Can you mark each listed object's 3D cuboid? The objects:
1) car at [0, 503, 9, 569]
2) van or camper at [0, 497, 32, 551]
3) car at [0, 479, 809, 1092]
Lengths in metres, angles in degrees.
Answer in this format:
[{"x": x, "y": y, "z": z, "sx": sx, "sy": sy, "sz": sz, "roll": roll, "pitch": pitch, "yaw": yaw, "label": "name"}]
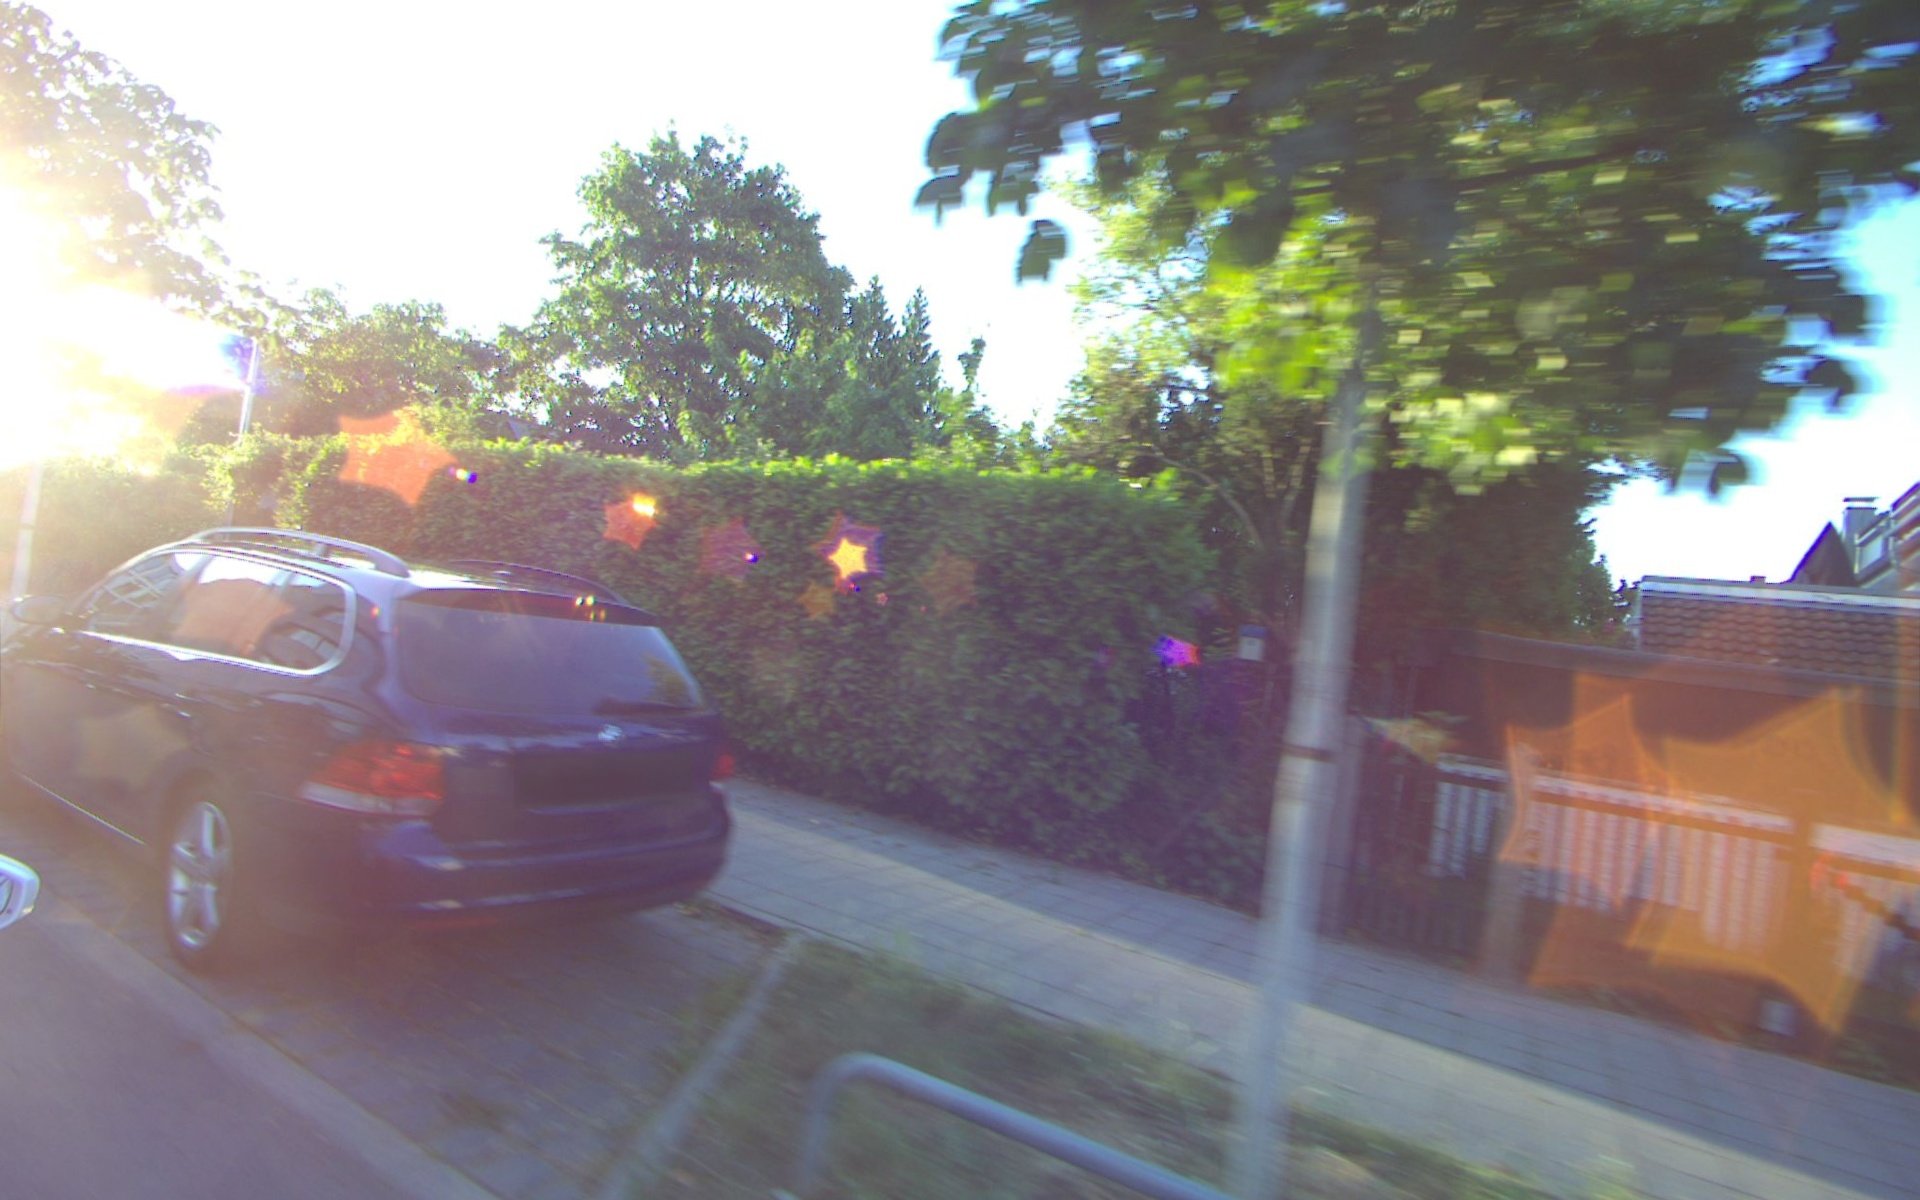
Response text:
[{"x": -11.279, "y": -0.397, "z": 10.287, "sx": 3.443, "sy": 1.526, "sz": 1.578, "roll": 5, "pitch": -3, "yaw": 37, "label": "car"}, {"x": -55.345, "y": -4.587, "z": 55.553, "sx": 2.396, "sy": 2.822, "sz": 5.604, "roll": 7, "pitch": -2, "yaw": 42, "label": "van or camper"}, {"x": -3.039, "y": 0.441, "z": 4.699, "sx": 4.475, "sy": 1.567, "sz": 1.714, "roll": 7, "pitch": -3, "yaw": 34, "label": "car"}]
